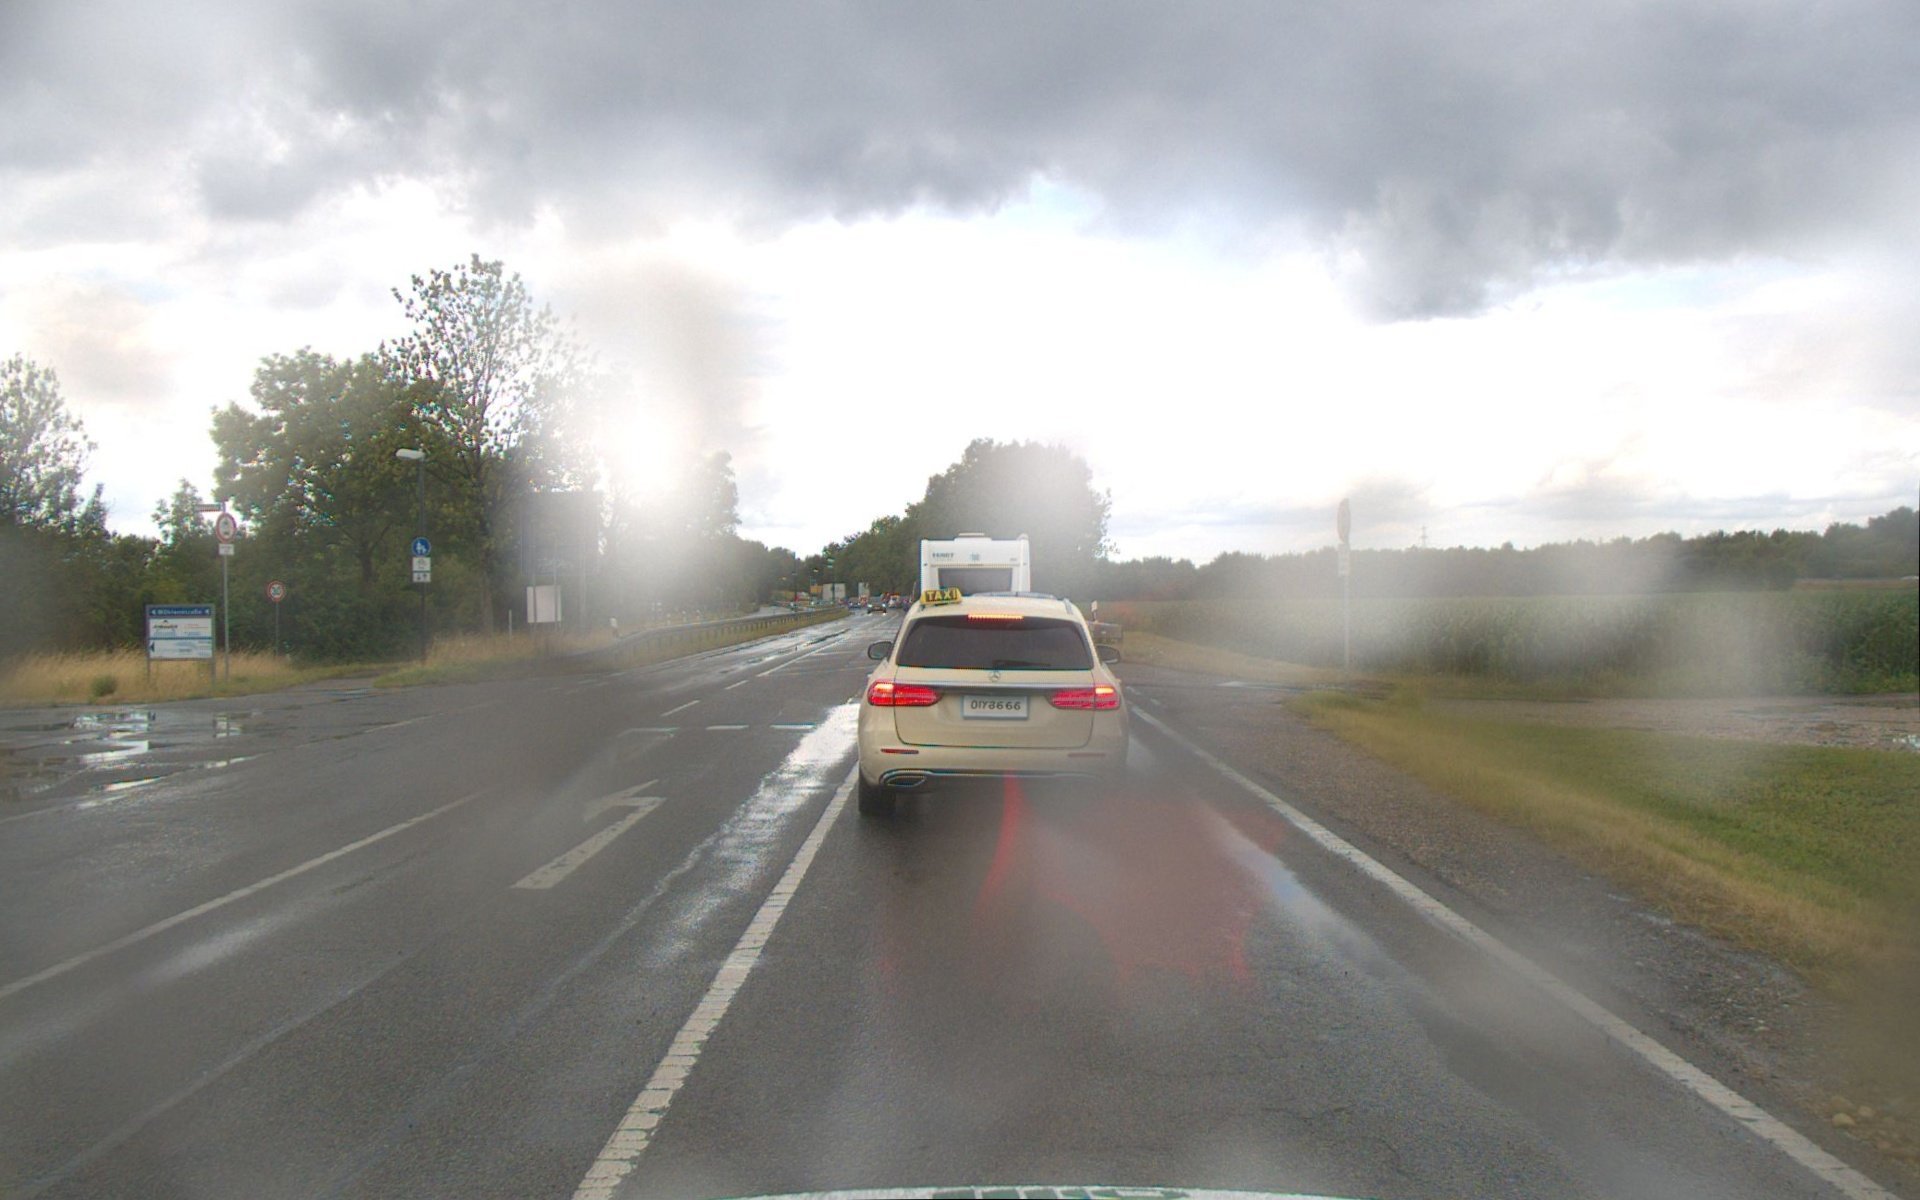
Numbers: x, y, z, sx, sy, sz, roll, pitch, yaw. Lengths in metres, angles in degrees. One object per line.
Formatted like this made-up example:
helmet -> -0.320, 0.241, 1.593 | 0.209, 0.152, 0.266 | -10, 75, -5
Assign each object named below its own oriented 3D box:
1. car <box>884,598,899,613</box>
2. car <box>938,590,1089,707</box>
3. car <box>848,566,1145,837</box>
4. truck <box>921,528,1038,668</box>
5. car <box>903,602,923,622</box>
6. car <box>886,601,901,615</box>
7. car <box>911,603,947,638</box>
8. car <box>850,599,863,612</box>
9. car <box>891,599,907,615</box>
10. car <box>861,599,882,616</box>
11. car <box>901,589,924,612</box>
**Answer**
car -> -8.789, 0.737, 212.564 | 1.858, 1.928, 3.840 | -1, 0, -4
car -> 0.676, 0.647, 23.718 | 1.953, 1.488, 3.999 | 1, 0, -1
car -> 0.200, 0.628, 12.149 | 1.805, 1.646, 3.999 | 1, 0, -1
truck -> 0.341, -0.046, 36.927 | 2.315, 2.776, 7.313 | -1, 0, -1
car -> -4.374, 1.128, 153.768 | 1.841, 1.792, 3.833 | -1, 0, -1
car -> -8.176, 0.944, 203.775 | 1.714, 1.691, 3.669 | -1, 0, -5
car -> -1.702, 1.103, 91.024 | 1.876, 1.873, 3.795 | -1, 0, -1
car -> -13.381, 0.688, 213.976 | 1.548, 1.668, 3.441 | -1, 0, -1
car -> -6.965, 0.796, 190.122 | 1.705, 1.892, 3.784 | -1, 0, -1
car -> -8.423, 0.746, 158.183 | 1.791, 1.601, 3.999 | 1, 0, 0
car -> -3.888, 0.062, 135.693 | 1.755, 1.808, 3.720 | -1, 0, -1
